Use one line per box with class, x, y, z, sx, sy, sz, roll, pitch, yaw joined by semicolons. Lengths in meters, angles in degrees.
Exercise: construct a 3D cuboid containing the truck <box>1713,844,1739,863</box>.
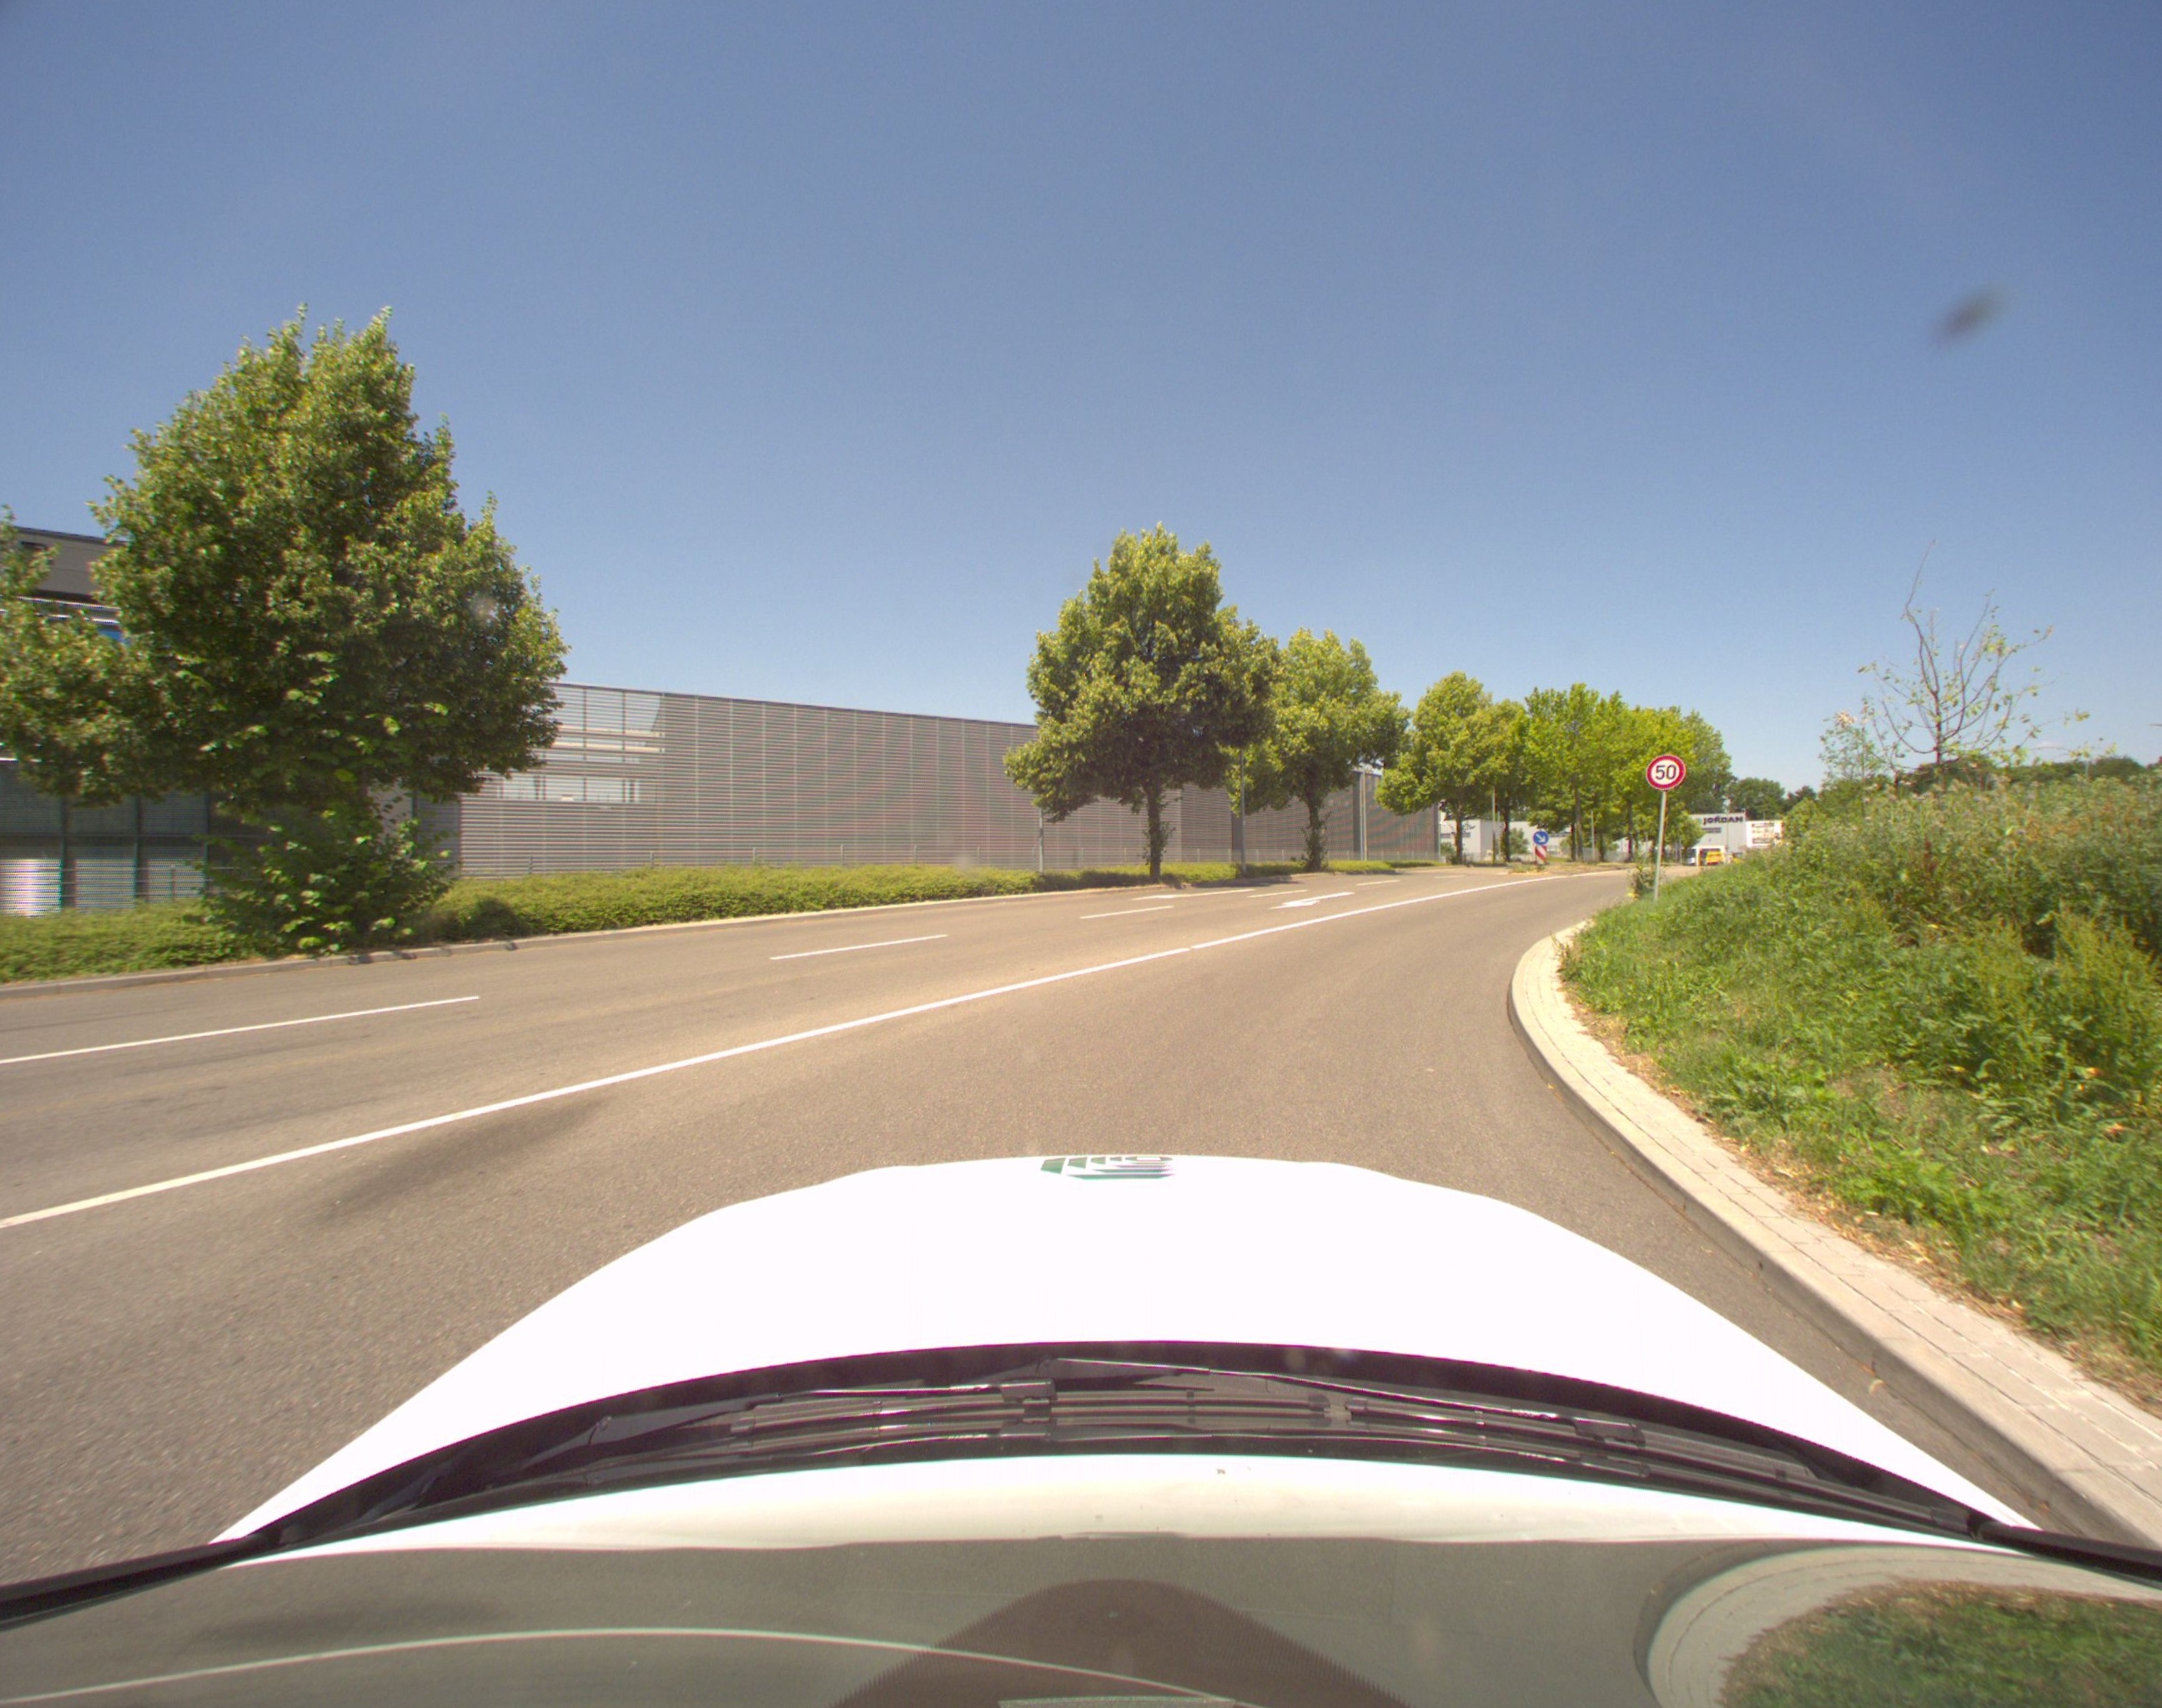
truck;111.628;-0.136;141.010;2.909;2.886;5.847;-4;0;34
